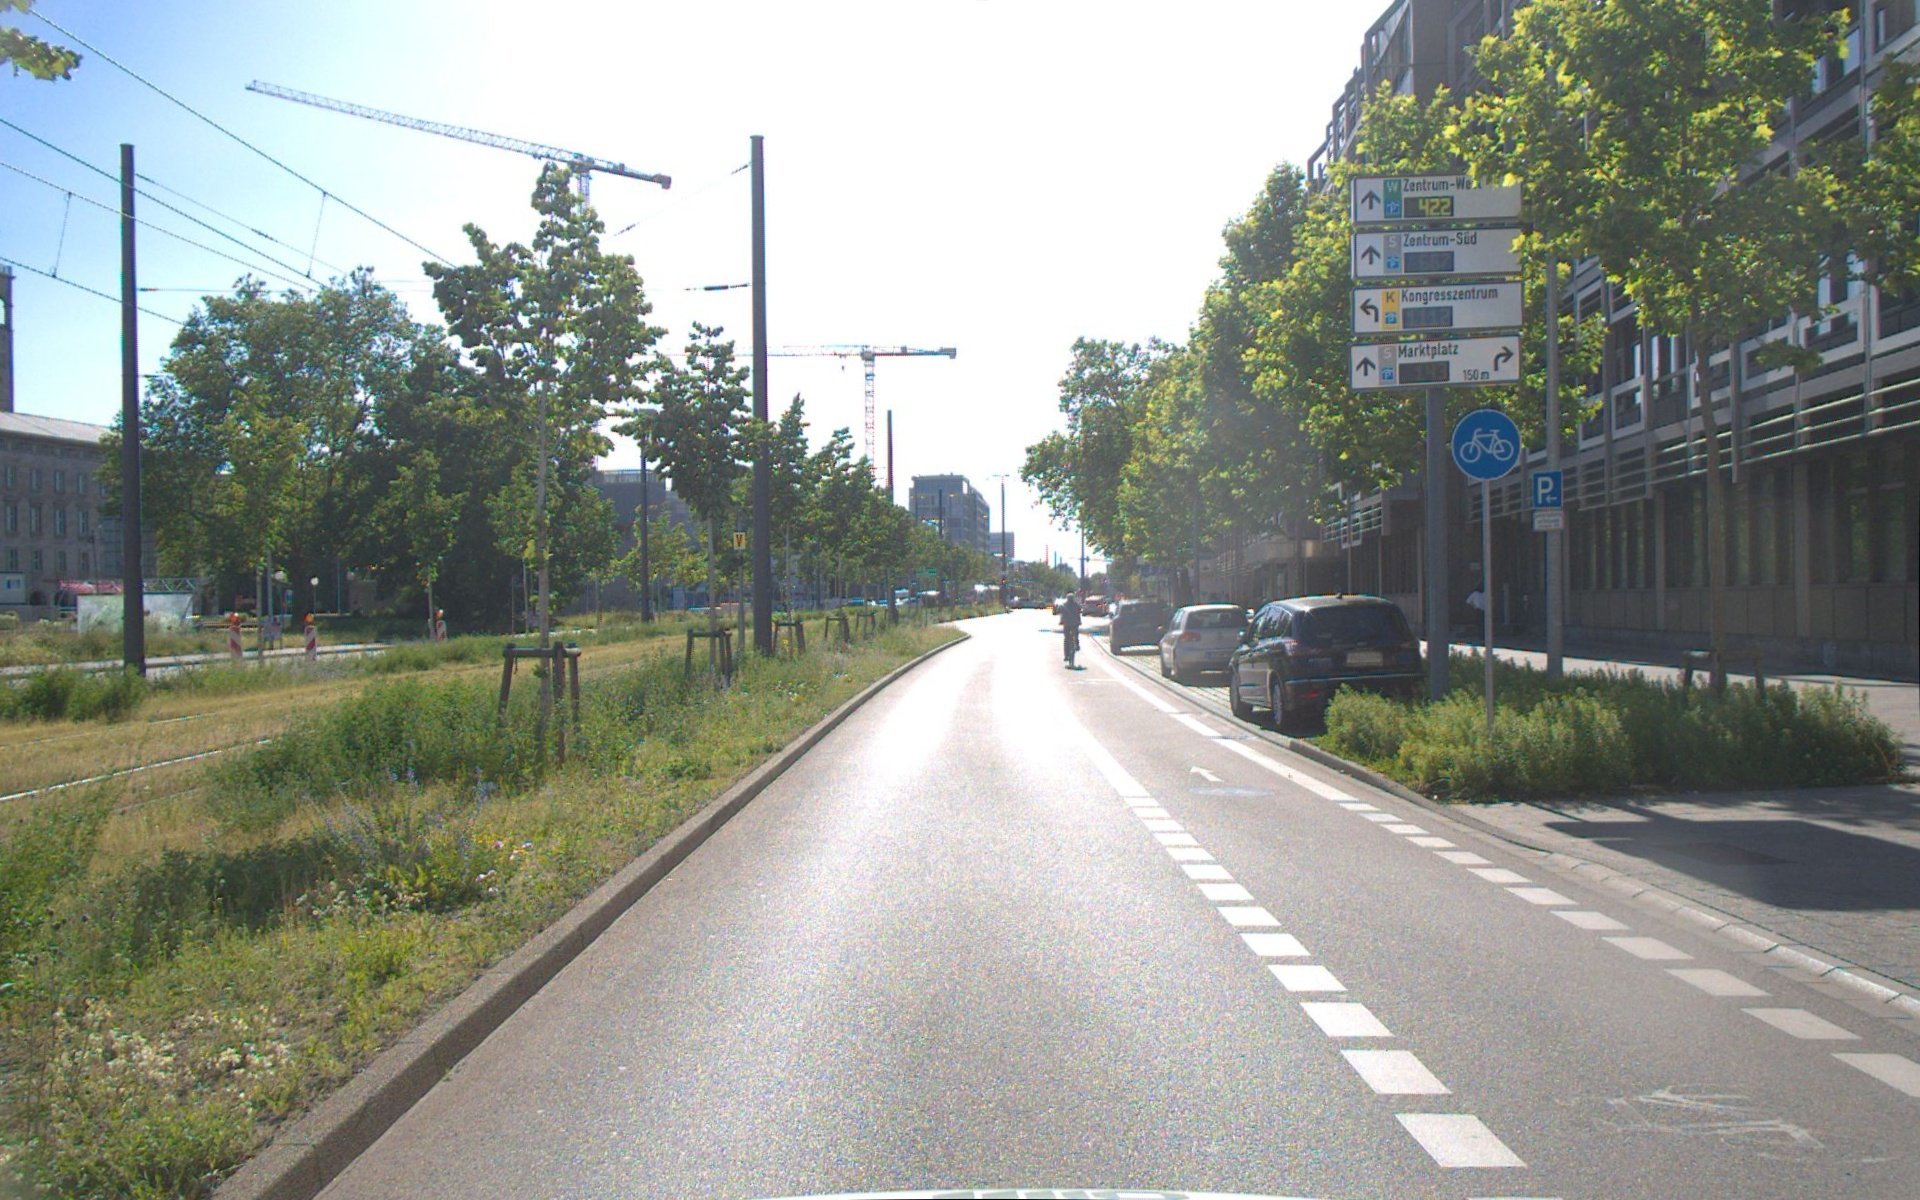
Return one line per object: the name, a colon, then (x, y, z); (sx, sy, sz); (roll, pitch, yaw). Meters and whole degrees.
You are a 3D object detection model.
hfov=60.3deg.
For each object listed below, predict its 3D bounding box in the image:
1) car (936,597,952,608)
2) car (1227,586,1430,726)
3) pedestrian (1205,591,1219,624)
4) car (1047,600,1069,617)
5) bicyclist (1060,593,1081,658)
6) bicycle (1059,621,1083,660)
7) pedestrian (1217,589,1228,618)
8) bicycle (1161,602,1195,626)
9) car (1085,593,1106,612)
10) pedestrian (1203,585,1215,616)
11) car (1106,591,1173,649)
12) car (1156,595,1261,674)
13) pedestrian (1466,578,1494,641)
car: (-1.786, 0.256, 185.572); (1.347, 1.199, 3.222); (1, -1, 5)
car: (4.882, 0.686, 22.528); (1.712, 1.688, 4.469); (-1, 0, -1)
pedestrian: (13.504, 0.383, 88.626); (0.634, 1.758, 0.804); (0, 0, 5)
car: (9.099, 0.786, 153.353); (1.871, 1.512, 4.012); (0, 0, 5)
bicyclist: (2.794, 0.637, 41.901); (0.502, 1.629, 0.536); (-1, 0, 1)
bicycle: (2.792, 1.022, 41.793); (0.487, 0.921, 2.197); (1, 0, 1)
pedestrian: (16.012, 0.194, 100.929); (0.500, 1.730, 0.774); (-3, 0, 5)
bicycle: (12.918, 0.822, 97.936); (1.897, 1.258, 0.579); (-4, 0, 3)
car: (12.219, 0.239, 149.310); (1.685, 1.646, 4.189); (0, 0, 7)
pedestrian: (12.443, 0.031, 82.750); (0.500, 1.500, 0.736); (-2, 0, 5)
car: (5.710, 0.607, 53.122); (1.811, 1.686, 4.850); (-2, 0, 3)
car: (5.137, 0.678, 34.614); (1.585, 1.490, 4.156); (-2, 0, 1)
pedestrian: (13.868, 0.259, 44.134); (0.500, 1.651, 0.674); (-3, 0, 5)
